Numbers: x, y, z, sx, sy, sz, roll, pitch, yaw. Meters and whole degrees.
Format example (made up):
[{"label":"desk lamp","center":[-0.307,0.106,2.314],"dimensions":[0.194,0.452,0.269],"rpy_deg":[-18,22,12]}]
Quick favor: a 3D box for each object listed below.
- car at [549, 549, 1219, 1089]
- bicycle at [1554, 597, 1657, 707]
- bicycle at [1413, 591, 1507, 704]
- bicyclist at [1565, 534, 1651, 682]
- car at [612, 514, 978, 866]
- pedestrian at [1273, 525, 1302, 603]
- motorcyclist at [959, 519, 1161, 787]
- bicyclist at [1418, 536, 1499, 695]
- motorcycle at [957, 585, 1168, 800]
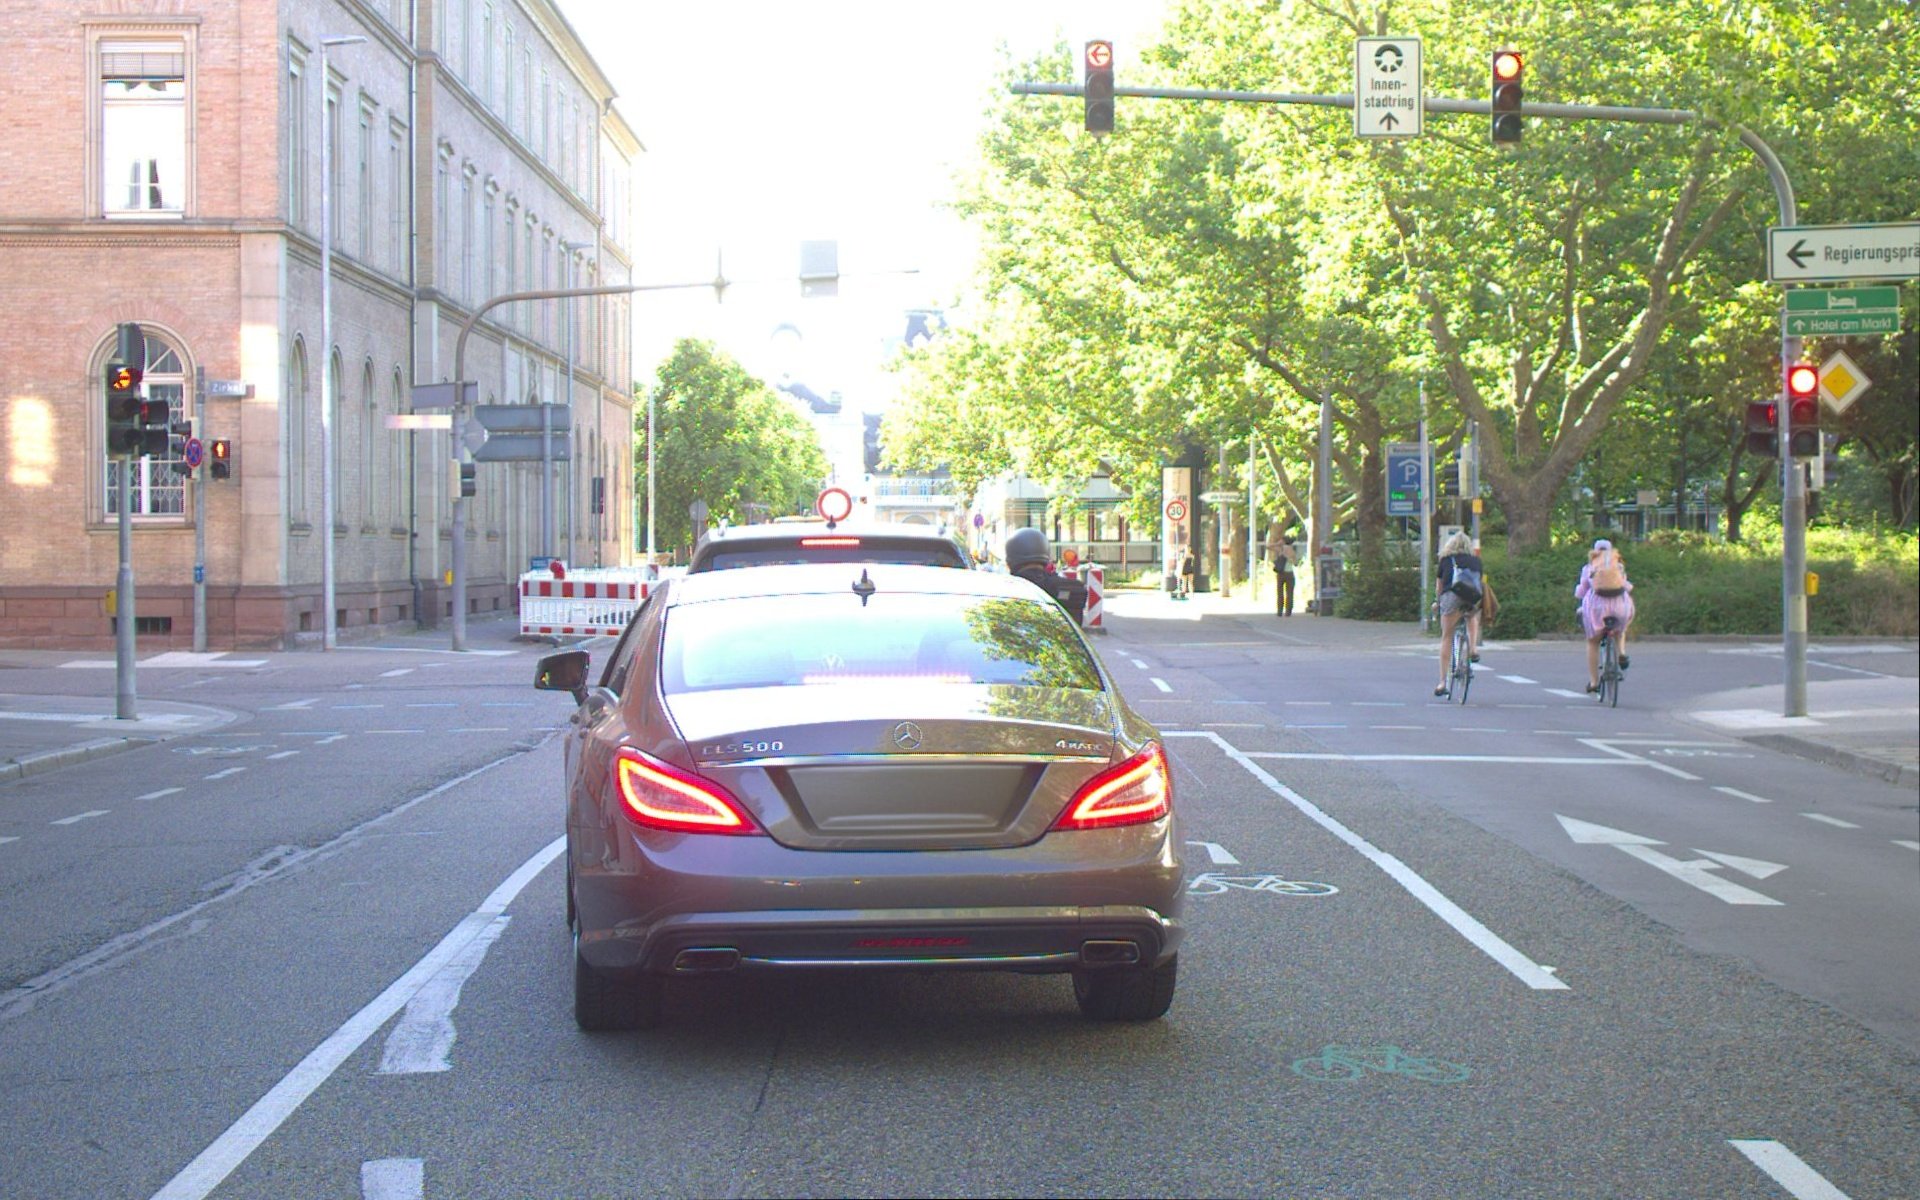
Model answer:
[{"label":"car","center":[-0.458,0.564,11.648],"dimensions":[1.821,1.471,4.354],"rpy_deg":[0,1,-7]},{"label":"bicycle","center":[6.256,0.490,33.401],"dimensions":[0.600,0.981,1.881],"rpy_deg":[2,1,-1]},{"label":"bicycle","center":[4.839,0.448,33.321],"dimensions":[0.610,1.023,1.731],"rpy_deg":[2,1,-1]},{"label":"bicyclist","center":[6.276,0.071,33.339],"dimensions":[0.600,1.397,0.931],"rpy_deg":[2,1,-1]},{"label":"car","center":[-0.819,0.384,17.735],"dimensions":[1.681,1.619,3.841],"rpy_deg":[0,1,-2]},{"label":"pedestrian","center":[7.076,-0.777,74.313],"dimensions":[0.559,1.672,0.565],"rpy_deg":[0,1,-1]},{"label":"motorcyclist","center":[0.601,0.307,21.228],"dimensions":[1.113,1.607,1.202],"rpy_deg":[0,1,-5]},{"label":"bicyclist","center":[4.834,0.138,33.373],"dimensions":[0.610,1.511,0.890],"rpy_deg":[2,1,-1]},{"label":"motorcycle","center":[0.591,0.529,21.214],"dimensions":[1.007,1.200,2.665],"rpy_deg":[0,1,-5]}]
